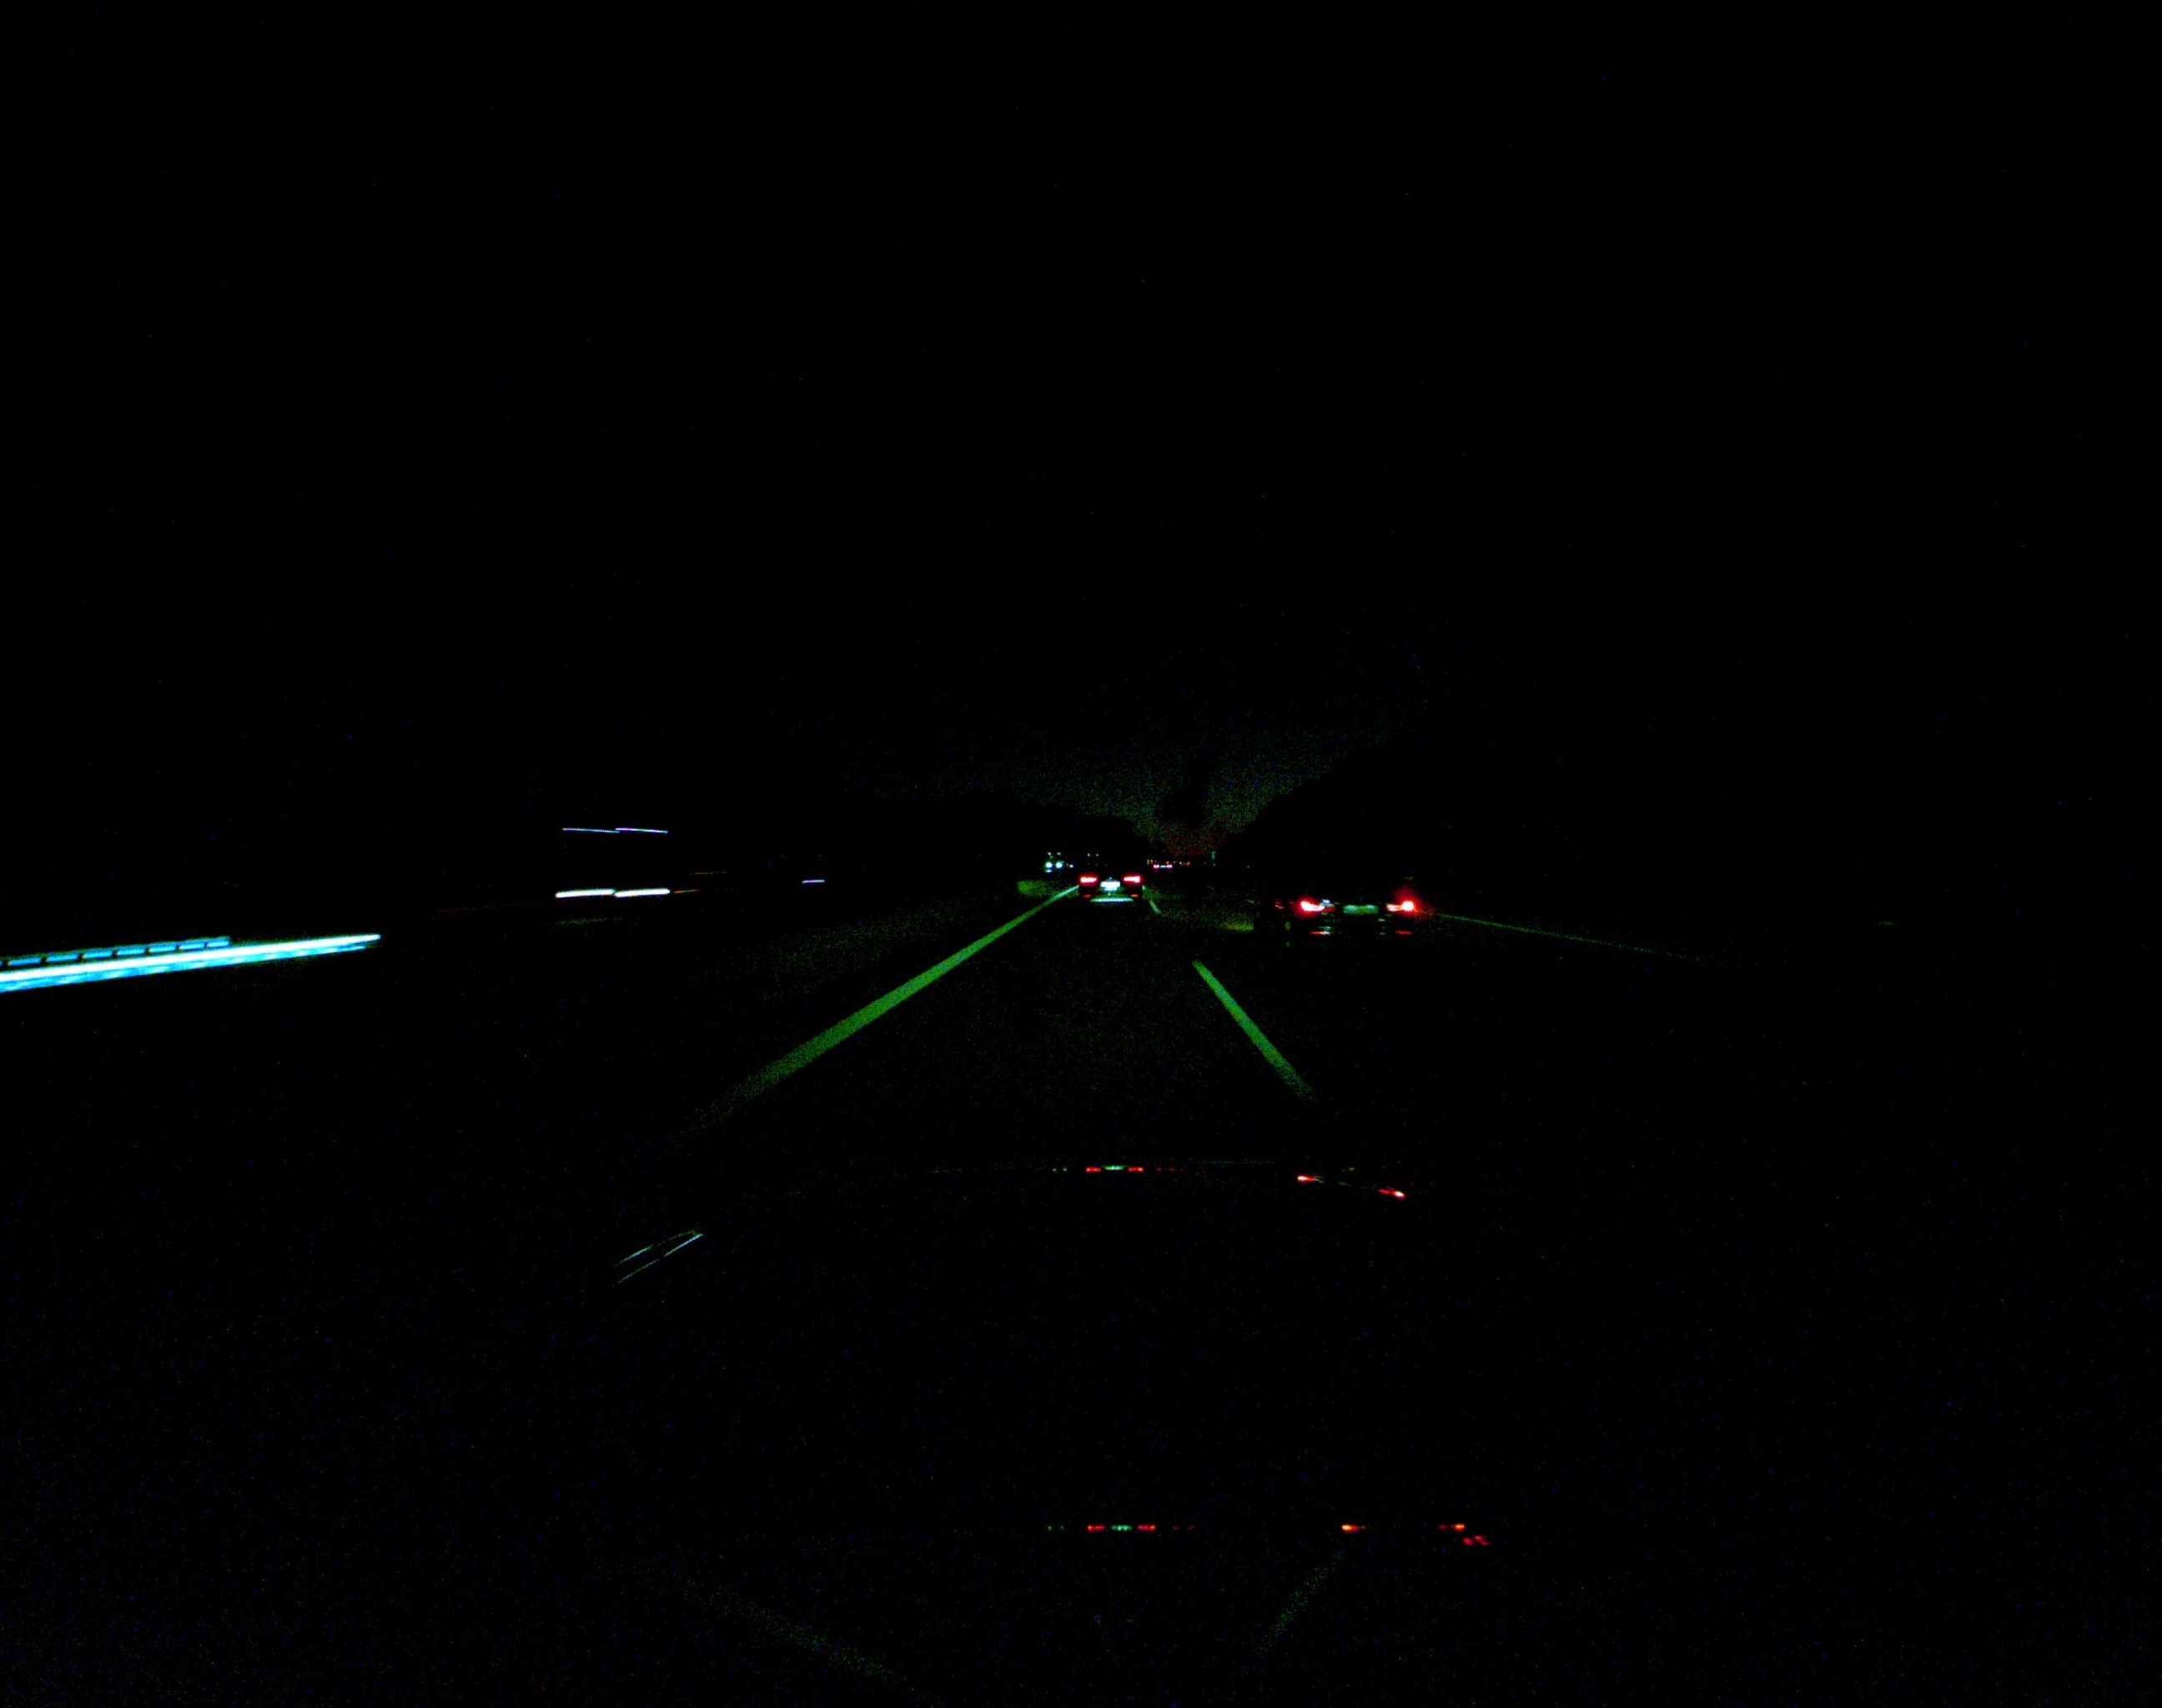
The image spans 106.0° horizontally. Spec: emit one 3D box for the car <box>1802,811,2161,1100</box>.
[{"bbox_3d":[7.400,0.592,4.737,1.985,1.718,5.171,-1,0,2],"label":"car"}]

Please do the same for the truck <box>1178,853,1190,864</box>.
[{"bbox_3d":[28.928,1.319,229.408,2.536,3.016,9.058,0,-1,3],"label":"truck"}]

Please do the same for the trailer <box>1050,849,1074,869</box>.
[{"bbox_3d":[-3.639,1.064,159.433,3.042,3.689,11.706,0,-1,6],"label":"trailer"}]

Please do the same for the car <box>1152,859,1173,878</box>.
[{"bbox_3d":[7.716,1.400,77.473,1.902,1.730,4.004,2,-2,4],"label":"car"}]

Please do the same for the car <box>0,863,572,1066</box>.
[{"bbox_3d":[-8.240,0.937,9.033,2.057,1.622,4.699,-1,0,3],"label":"car"}]

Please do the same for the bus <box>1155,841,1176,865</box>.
[{"bbox_3d":[16.426,-0.058,157.523,2.635,3.994,14.742,-4,-2,10],"label":"bus"}]

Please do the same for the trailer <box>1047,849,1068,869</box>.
[{"bbox_3d":[-4.384,0.989,152.559,3.042,3.689,7.241,0,-1,6],"label":"trailer"}]

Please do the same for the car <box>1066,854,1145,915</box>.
[{"bbox_3d":[0.737,0.807,23.858,2.097,1.618,4.207,0,0,2],"label":"car"}]

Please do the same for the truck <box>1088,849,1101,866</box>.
[{"bbox_3d":[3.662,0.848,213.305,2.838,4.433,6.407,0,-1,6],"label":"truck"}]

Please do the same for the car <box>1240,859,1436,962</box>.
[{"bbox_3d":[4.080,0.803,13.882,1.828,1.401,5.070,-1,0,1],"label":"car"}]

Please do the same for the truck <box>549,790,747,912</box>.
[{"bbox_3d":[-15.647,-0.061,30.189,3.422,4.007,6.780,0,-1,3],"label":"truck"}]

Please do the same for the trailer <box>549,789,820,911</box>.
[{"bbox_3d":[-15.423,-0.050,34.178,3.422,4.007,14.771,0,-1,3],"label":"trailer"}]

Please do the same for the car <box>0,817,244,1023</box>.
[{"bbox_3d":[-12.631,0.717,7.705,2.045,2.197,6.969,-1,0,2],"label":"car"}]
